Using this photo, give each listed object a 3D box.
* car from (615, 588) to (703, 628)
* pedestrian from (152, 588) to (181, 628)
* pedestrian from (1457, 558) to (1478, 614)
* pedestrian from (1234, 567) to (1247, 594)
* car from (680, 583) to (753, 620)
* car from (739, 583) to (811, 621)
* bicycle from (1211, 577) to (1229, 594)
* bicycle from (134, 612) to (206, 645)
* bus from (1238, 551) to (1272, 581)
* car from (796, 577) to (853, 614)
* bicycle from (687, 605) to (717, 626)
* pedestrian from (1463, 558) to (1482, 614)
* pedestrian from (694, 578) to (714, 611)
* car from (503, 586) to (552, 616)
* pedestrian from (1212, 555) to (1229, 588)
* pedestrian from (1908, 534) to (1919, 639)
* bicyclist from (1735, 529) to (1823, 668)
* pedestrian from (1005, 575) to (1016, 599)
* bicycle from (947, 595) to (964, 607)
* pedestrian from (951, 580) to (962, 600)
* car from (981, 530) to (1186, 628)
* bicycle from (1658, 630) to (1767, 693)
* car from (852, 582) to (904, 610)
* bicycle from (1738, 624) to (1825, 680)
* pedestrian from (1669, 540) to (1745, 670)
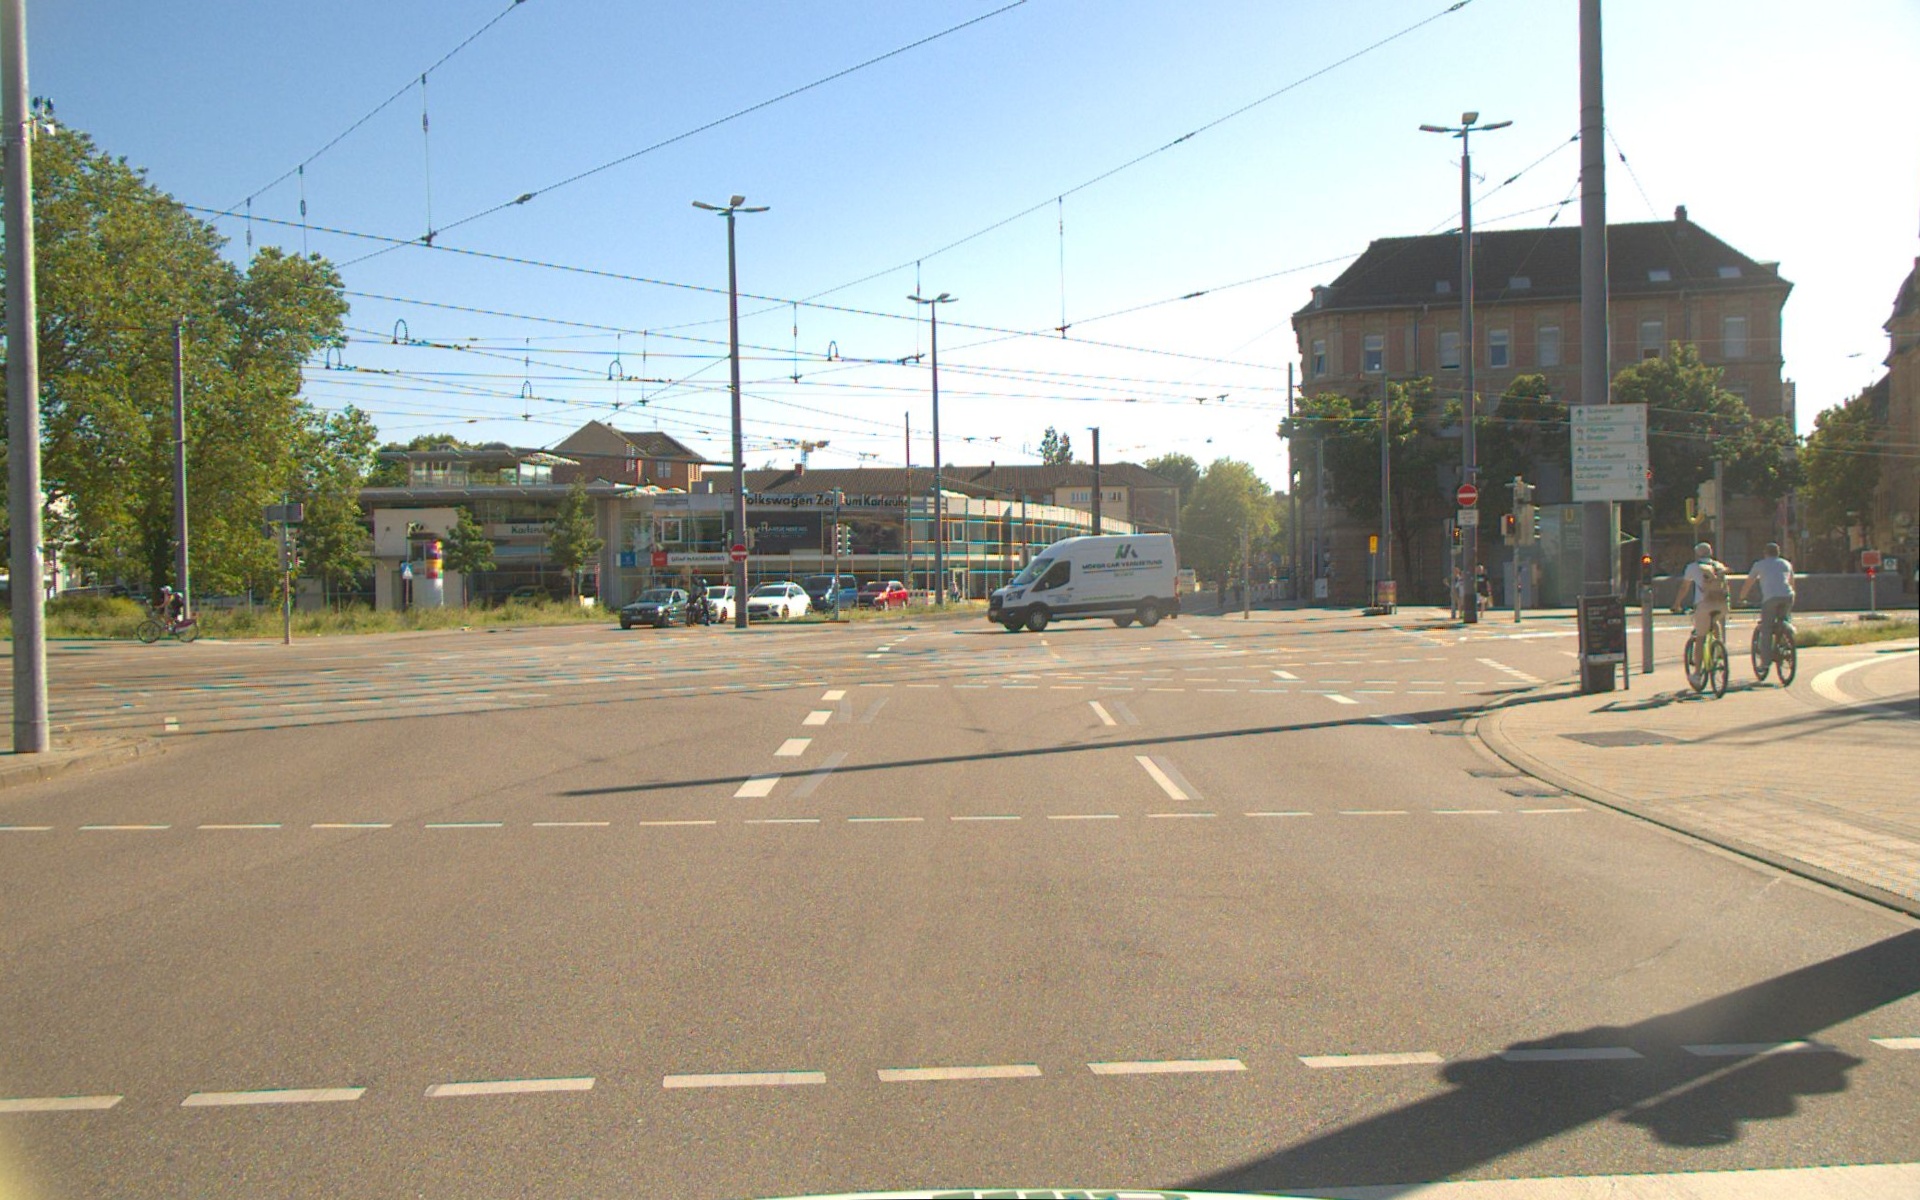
[{"bbox_3d":[-11.010,0.265,60.701,1.667,1.378,3.703,-1,1,16],"label":"car"},{"bbox_3d":[-24.405,0.238,50.871,0.784,1.225,0.555,-1,0,-27],"label":"pedestrian"},{"bbox_3d":[18.496,-0.513,60.297,0.564,2.049,0.449,-1,1,-19],"label":"pedestrian"},{"bbox_3d":[16.718,-1.162,98.635,0.730,1.549,0.719,-1,0,14],"label":"pedestrian"},{"bbox_3d":[-9.787,0.041,66.674,1.591,1.448,3.689,-1,1,14],"label":"car"},{"bbox_3d":[-7.235,0.072,64.831,1.591,1.406,3.741,-1,1,14],"label":"car"},{"bbox_3d":[13.179,-0.739,83.808,0.727,0.885,1.933,-1,0,15],"label":"bicycle"},{"bbox_3d":[-24.319,0.869,50.914,1.981,0.929,0.557,-1,0,-28],"label":"bicycle"},{"bbox_3d":[40.604,-4.562,227.214,3.755,3.670,24.887,1,0,12],"label":"bus"},{"bbox_3d":[-6.422,-0.239,78.860,1.591,1.722,3.689,-1,1,14],"label":"car"},{"bbox_3d":[-9.376,0.563,60.218,0.413,0.730,1.636,-1,1,16],"label":"bicycle"},{"bbox_3d":[18.888,-0.525,60.948,0.453,2.049,0.449,-1,1,-18],"label":"pedestrian"},{"bbox_3d":[-9.339,-0.203,60.388,0.413,1.225,0.750,-1,0,16],"label":"pedestrian"},{"bbox_3d":[-25.971,0.042,99.477,1.926,1.735,4.083,-1,1,-1],"label":"car"},{"bbox_3d":[13.262,-1.442,84.248,0.785,1.660,0.719,-1,0,14],"label":"pedestrian"},{"bbox_3d":[17.799,-0.256,30.095,0.880,1.892,0.924,-1,0,34],"label":"pedestrian"},{"bbox_3d":[10.999,-0.027,22.234,0.731,1.809,0.925,-2,0,5],"label":"bicyclist"},{"bbox_3d":[3.627,-0.917,118.730,0.531,1.718,0.630,-1,0,24],"label":"pedestrian"},{"bbox_3d":[-0.277,0.053,102.339,0.414,0.730,1.474,-1,1,25],"label":"bicycle"},{"bbox_3d":[-0.223,-0.593,102.470,0.414,1.225,0.680,-1,0,25],"label":"pedestrian"},{"bbox_3d":[3.718,-0.657,49.870,5.818,2.792,2.132,-1,0,-20],"label":"car"},{"bbox_3d":[9.416,0.755,20.752,0.526,0.667,1.725,-4,1,-1],"label":"bicycle"},{"bbox_3d":[-4.243,-0.203,86.020,1.591,1.388,3.688,-1,1,16],"label":"car"},{"bbox_3d":[10.980,0.687,22.151,0.525,0.667,1.468,-2,1,5],"label":"bicycle"},{"bbox_3d":[9.342,0.056,20.708,0.537,1.590,0.858,-1,0,-2],"label":"pedestrian"}]
